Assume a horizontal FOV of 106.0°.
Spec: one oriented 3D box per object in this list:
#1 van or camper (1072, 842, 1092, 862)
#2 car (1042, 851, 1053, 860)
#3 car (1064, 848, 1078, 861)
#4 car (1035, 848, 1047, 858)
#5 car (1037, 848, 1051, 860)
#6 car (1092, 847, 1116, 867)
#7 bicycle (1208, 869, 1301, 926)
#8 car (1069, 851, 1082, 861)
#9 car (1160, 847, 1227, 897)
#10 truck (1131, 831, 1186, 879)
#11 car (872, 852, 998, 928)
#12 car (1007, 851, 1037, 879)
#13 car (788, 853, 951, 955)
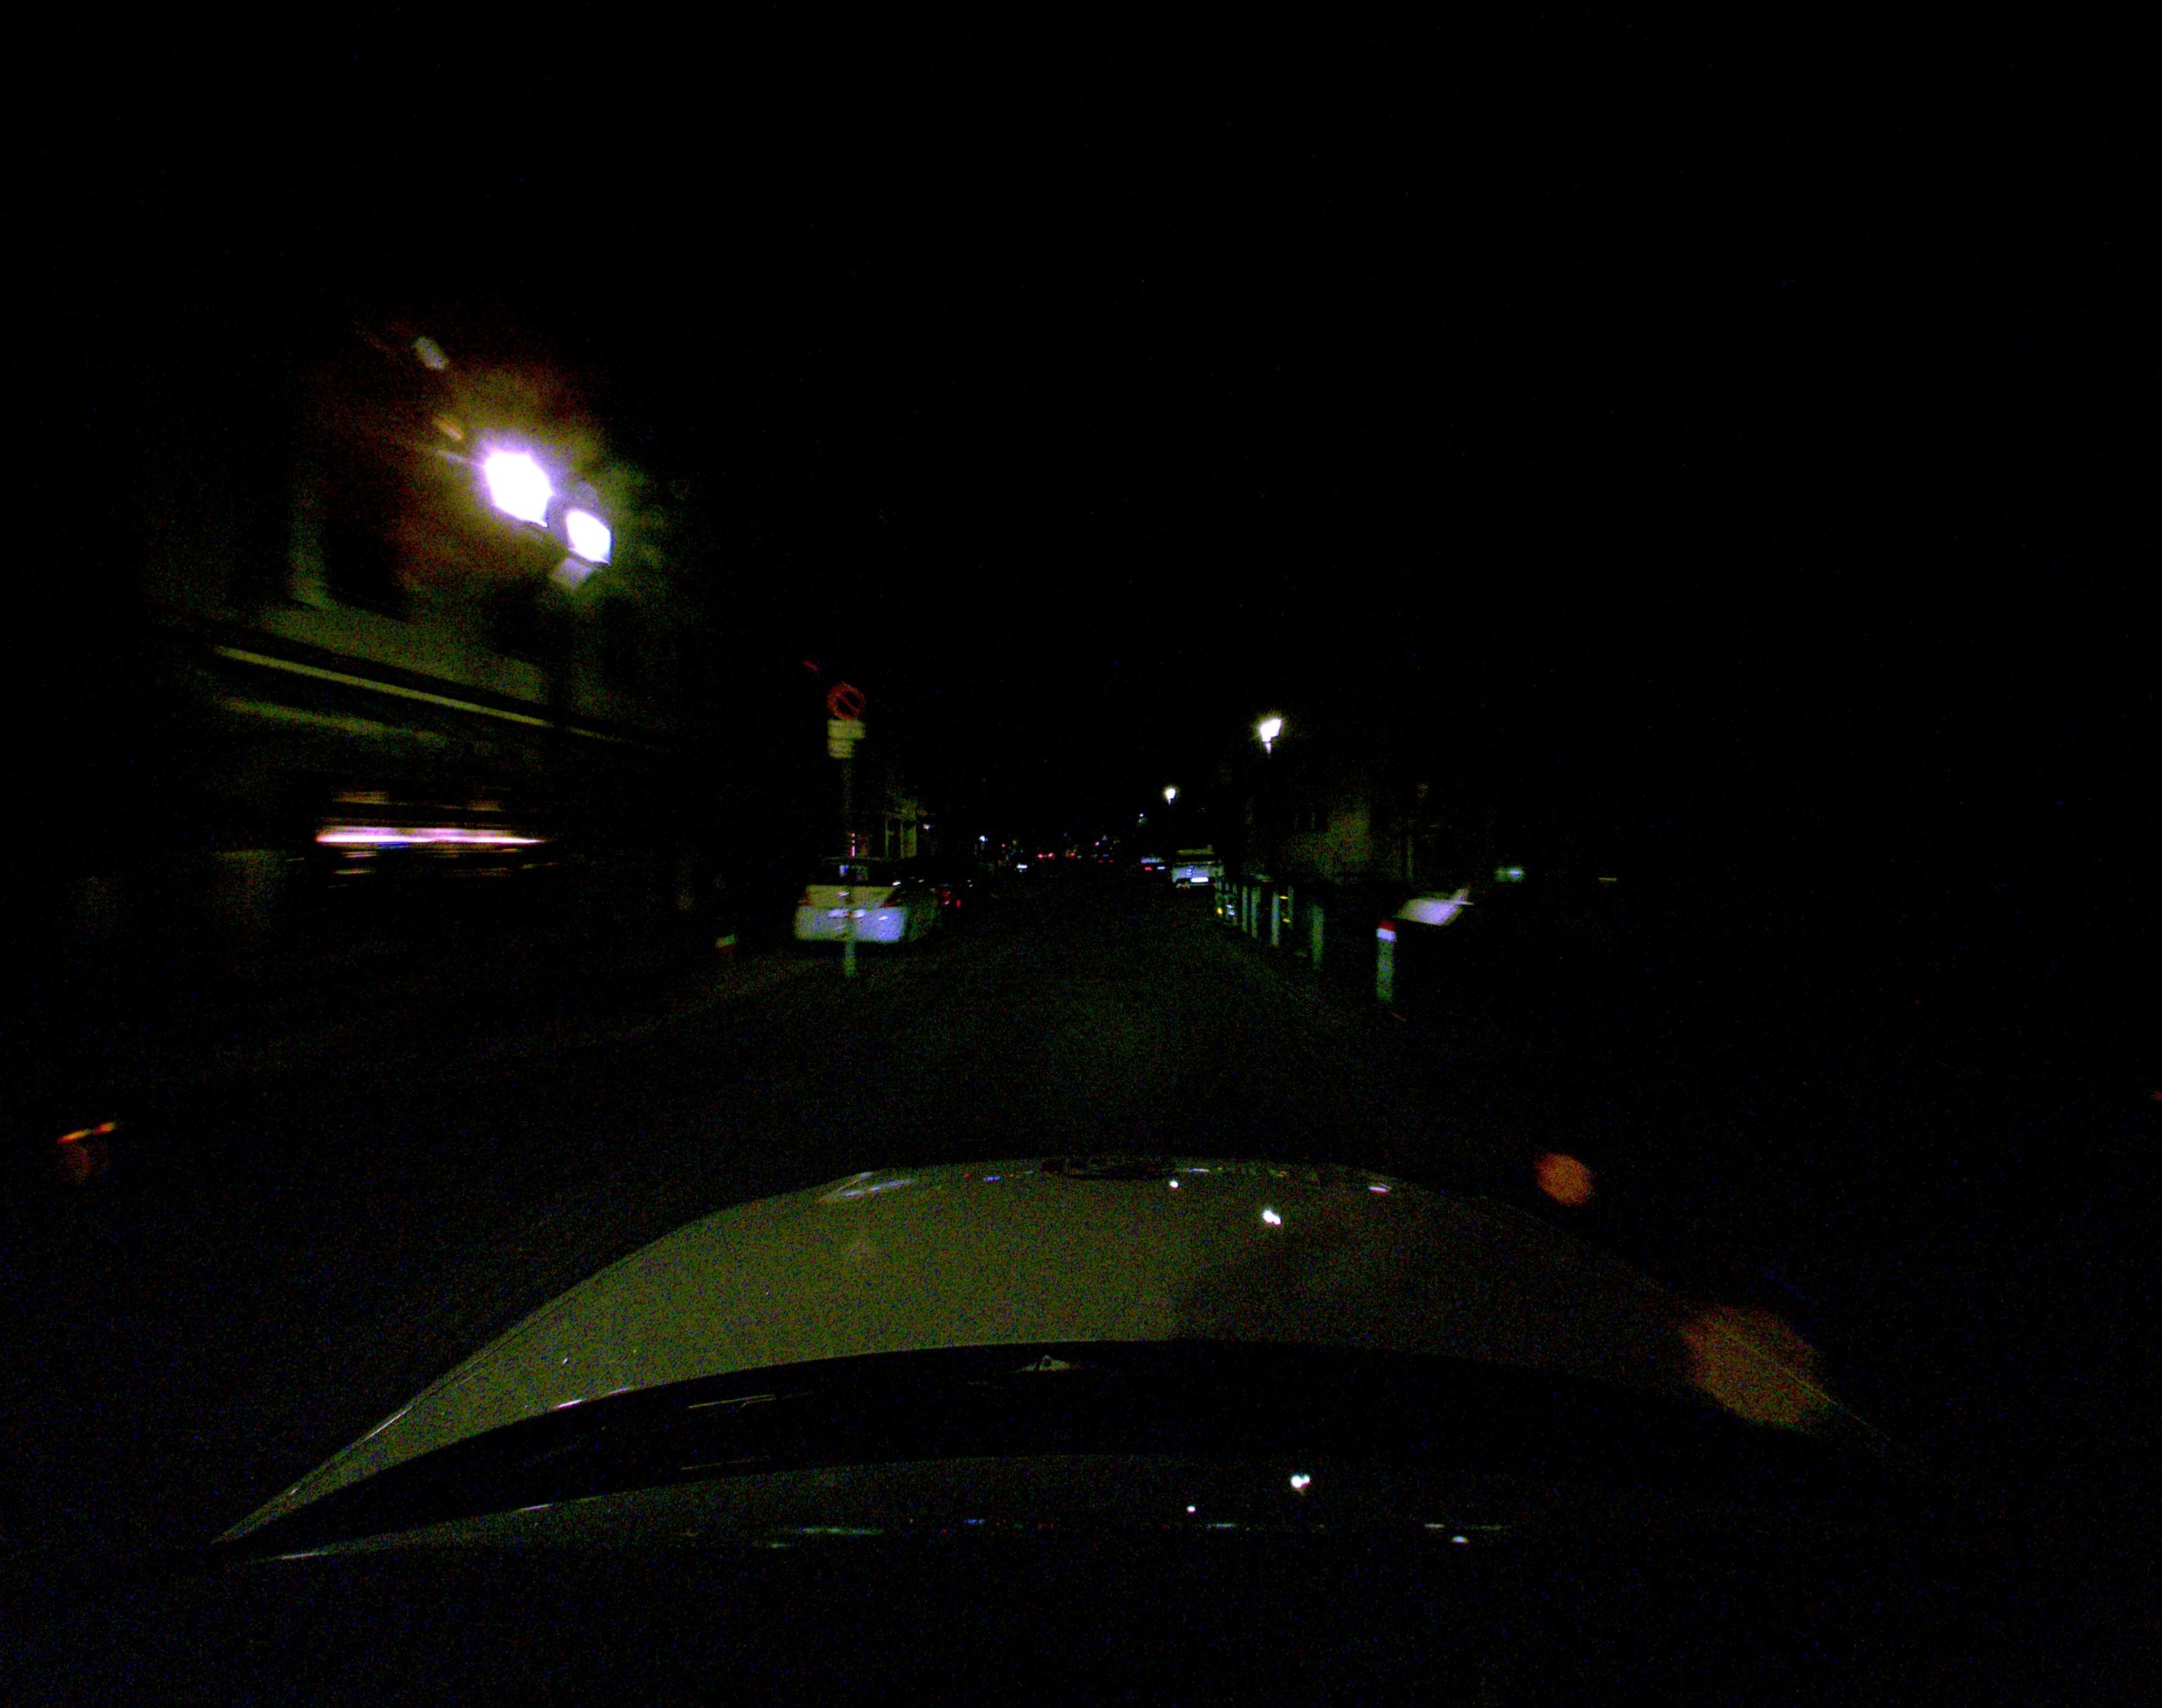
[{"bbox_3d":[0.092,-0.259,104.407,2.106,2.317,4.253,-2,0,-6],"label":"van or camper"},{"bbox_3d":[-6.220,0.274,150.308,1.836,1.542,3.840,-1,0,-4],"label":"car"},{"bbox_3d":[-1.487,0.031,123.243,1.836,1.901,3.840,-1,0,-4],"label":"car"},{"bbox_3d":[-6.644,-0.192,134.533,1.990,1.702,3.994,-1,0,-4],"label":"car"},{"bbox_3d":[-5.503,-0.016,120.637,1.989,1.823,3.995,-1,0,-3],"label":"car"},{"bbox_3d":[2.221,0.247,78.408,1.812,1.828,4.339,-1,0,-5],"label":"car"},{"bbox_3d":[3.399,0.846,15.980,1.750,1.062,0.346,-1,0,-2],"label":"bicycle"},{"bbox_3d":[-0.816,0.245,117.117,1.528,1.418,3.840,-1,0,-4],"label":"car"},{"bbox_3d":[3.716,0.557,27.458,1.782,1.491,4.061,-2,0,2],"label":"car"},{"bbox_3d":[3.985,0.041,42.978,2.328,2.312,5.780,-1,0,0],"label":"truck"},{"bbox_3d":[-3.279,0.749,19.398,2.013,1.488,5.007,2,0,0],"label":"car"},{"bbox_3d":[-3.442,0.621,47.241,1.671,1.543,4.223,0,0,-5],"label":"car"},{"bbox_3d":[-3.387,0.723,13.791,1.723,1.477,3.846,0,0,0],"label":"car"}]
